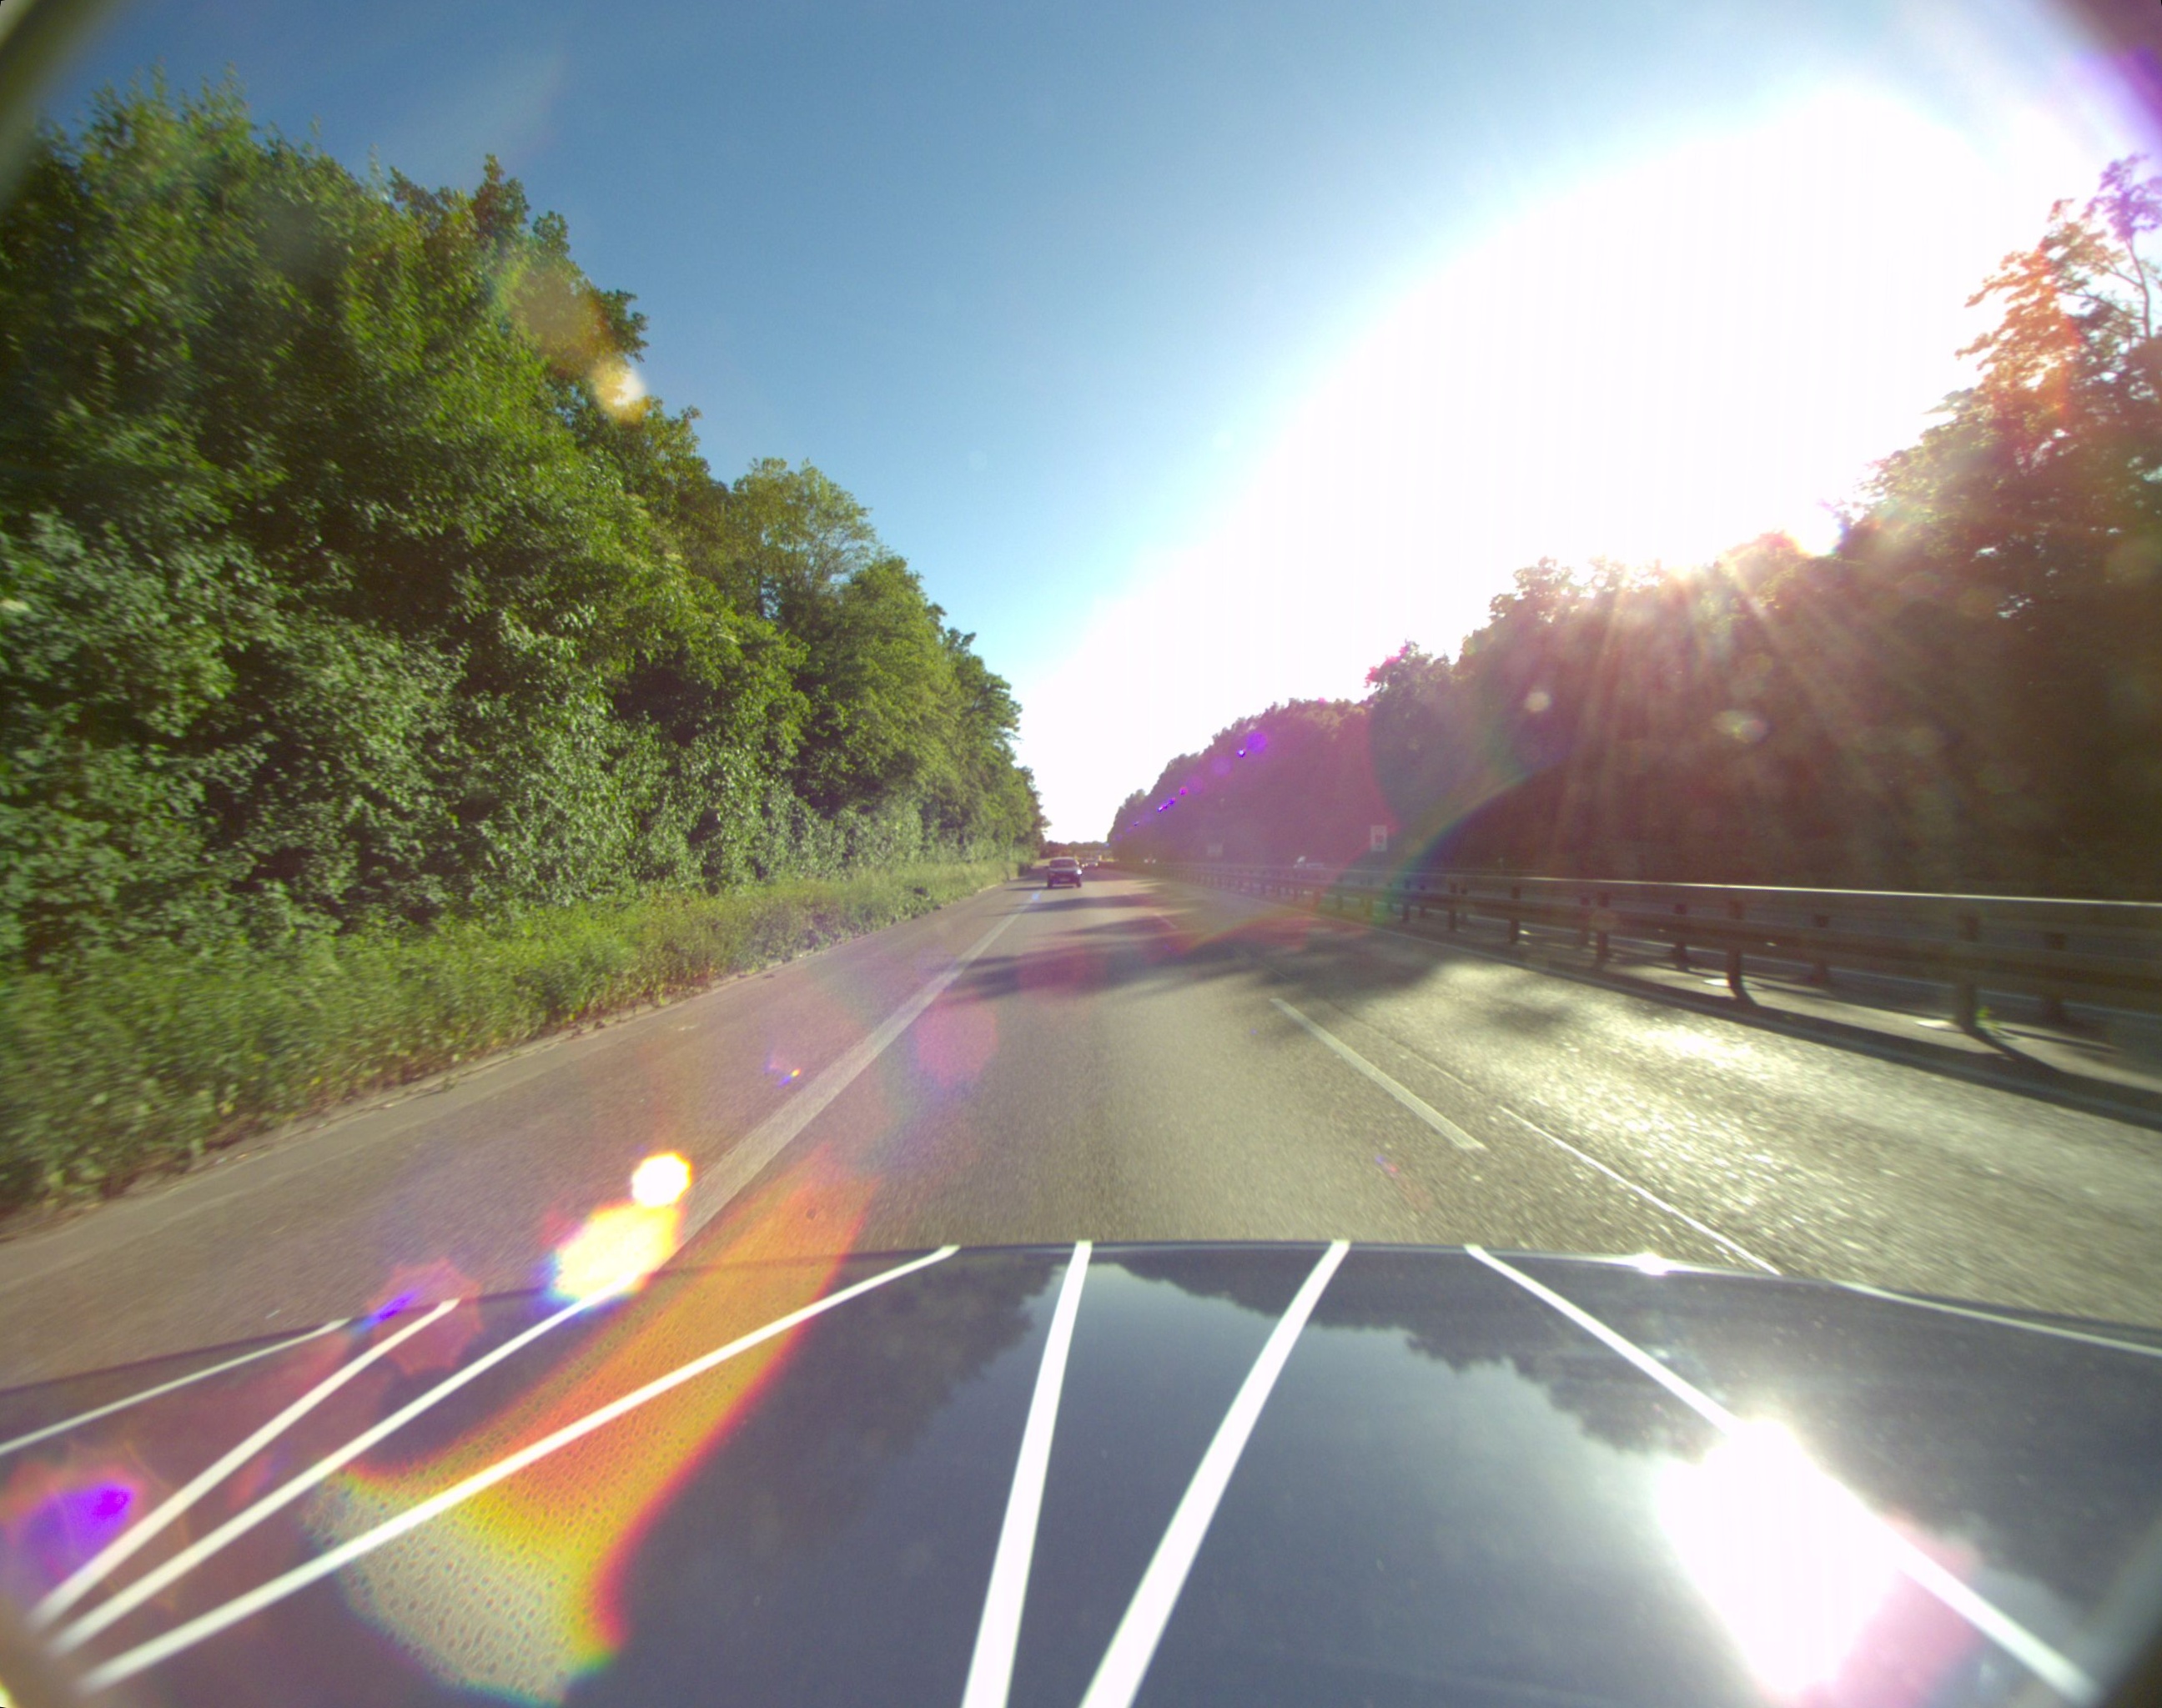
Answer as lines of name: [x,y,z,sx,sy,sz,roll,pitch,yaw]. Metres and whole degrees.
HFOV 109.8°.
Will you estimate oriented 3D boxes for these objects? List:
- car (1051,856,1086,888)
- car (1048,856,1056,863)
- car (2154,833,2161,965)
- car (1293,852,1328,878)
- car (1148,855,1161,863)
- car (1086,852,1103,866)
car: [-0.619,0.916,39.798,1.712,1.565,3.422,-2,0,1]
car: [-6.641,1.301,175.765,1.712,1.565,3.422,-2,0,1]
car: [15.258,0.609,7.805,1.999,1.739,4.550,1,0,0]
car: [14.925,0.712,49.606,1.417,1.610,2.875,0,0,0]
car: [14.577,0.986,150.500,1.999,1.455,4.901,1,0,-1]
car: [1.797,0.710,101.558,1.999,1.793,3.999,1,0,-2]
